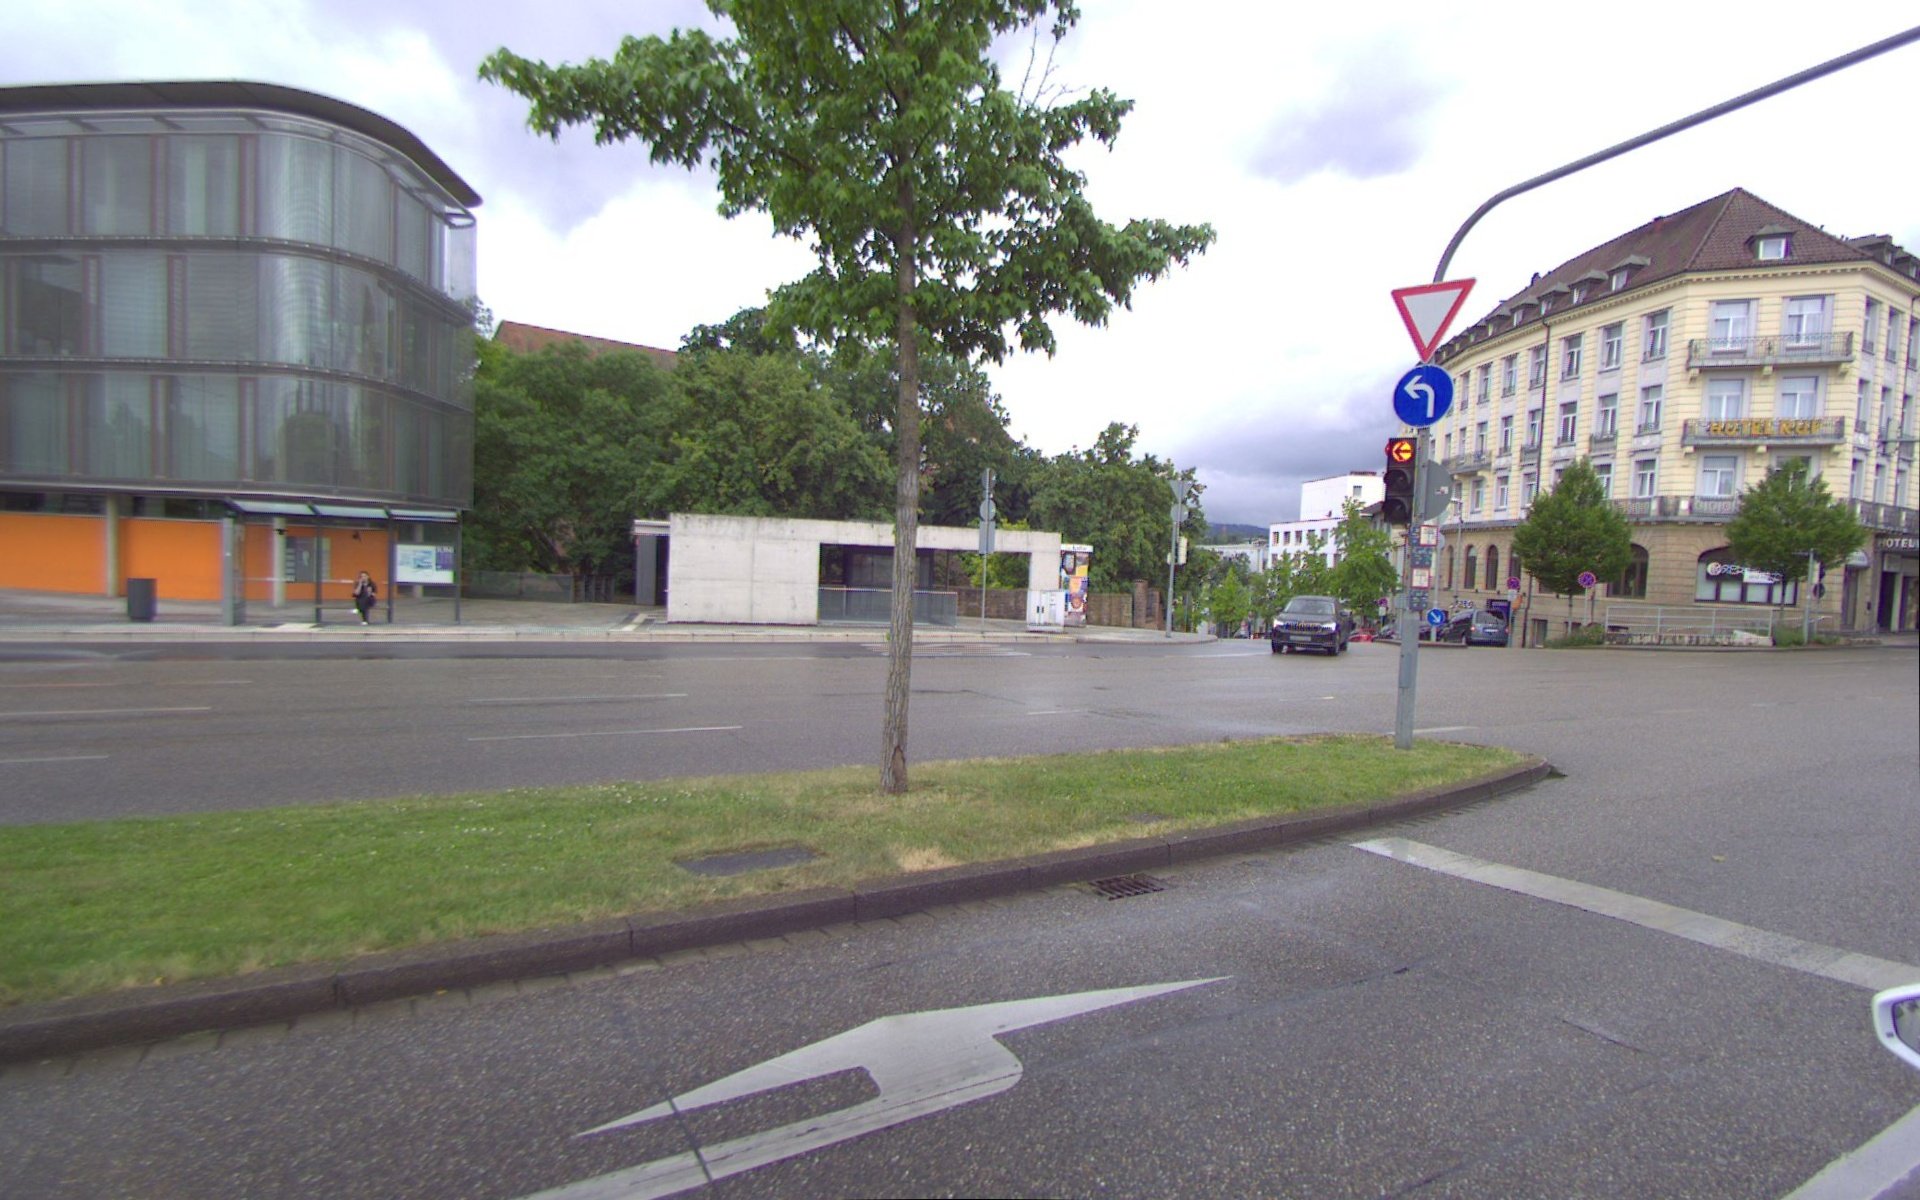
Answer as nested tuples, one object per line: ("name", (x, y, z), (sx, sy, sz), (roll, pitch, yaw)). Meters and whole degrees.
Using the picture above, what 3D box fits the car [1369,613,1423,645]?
("car", (25.283, 1.627, 58.333), (1.757, 1.662, 3.916), (2, 1, 6))

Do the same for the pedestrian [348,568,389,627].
("pedestrian", (-13.938, -0.060, 23.678), (0.780, 1.341, 0.798), (1, 1, -29))

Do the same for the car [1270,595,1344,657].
("car", (10.520, 0.722, 30.261), (1.792, 1.662, 4.597), (2, 1, 22))

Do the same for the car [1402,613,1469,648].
("car", (25.033, 1.578, 53.034), (1.959, 1.662, 4.002), (2, 0, 6))

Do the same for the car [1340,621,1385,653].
("car", (25.678, 2.325, 64.164), (1.741, 1.836, 3.624), (2, 1, 7))

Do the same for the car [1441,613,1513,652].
("car", (23.867, 1.450, 46.526), (1.764, 1.590, 4.002), (2, 1, 9))
